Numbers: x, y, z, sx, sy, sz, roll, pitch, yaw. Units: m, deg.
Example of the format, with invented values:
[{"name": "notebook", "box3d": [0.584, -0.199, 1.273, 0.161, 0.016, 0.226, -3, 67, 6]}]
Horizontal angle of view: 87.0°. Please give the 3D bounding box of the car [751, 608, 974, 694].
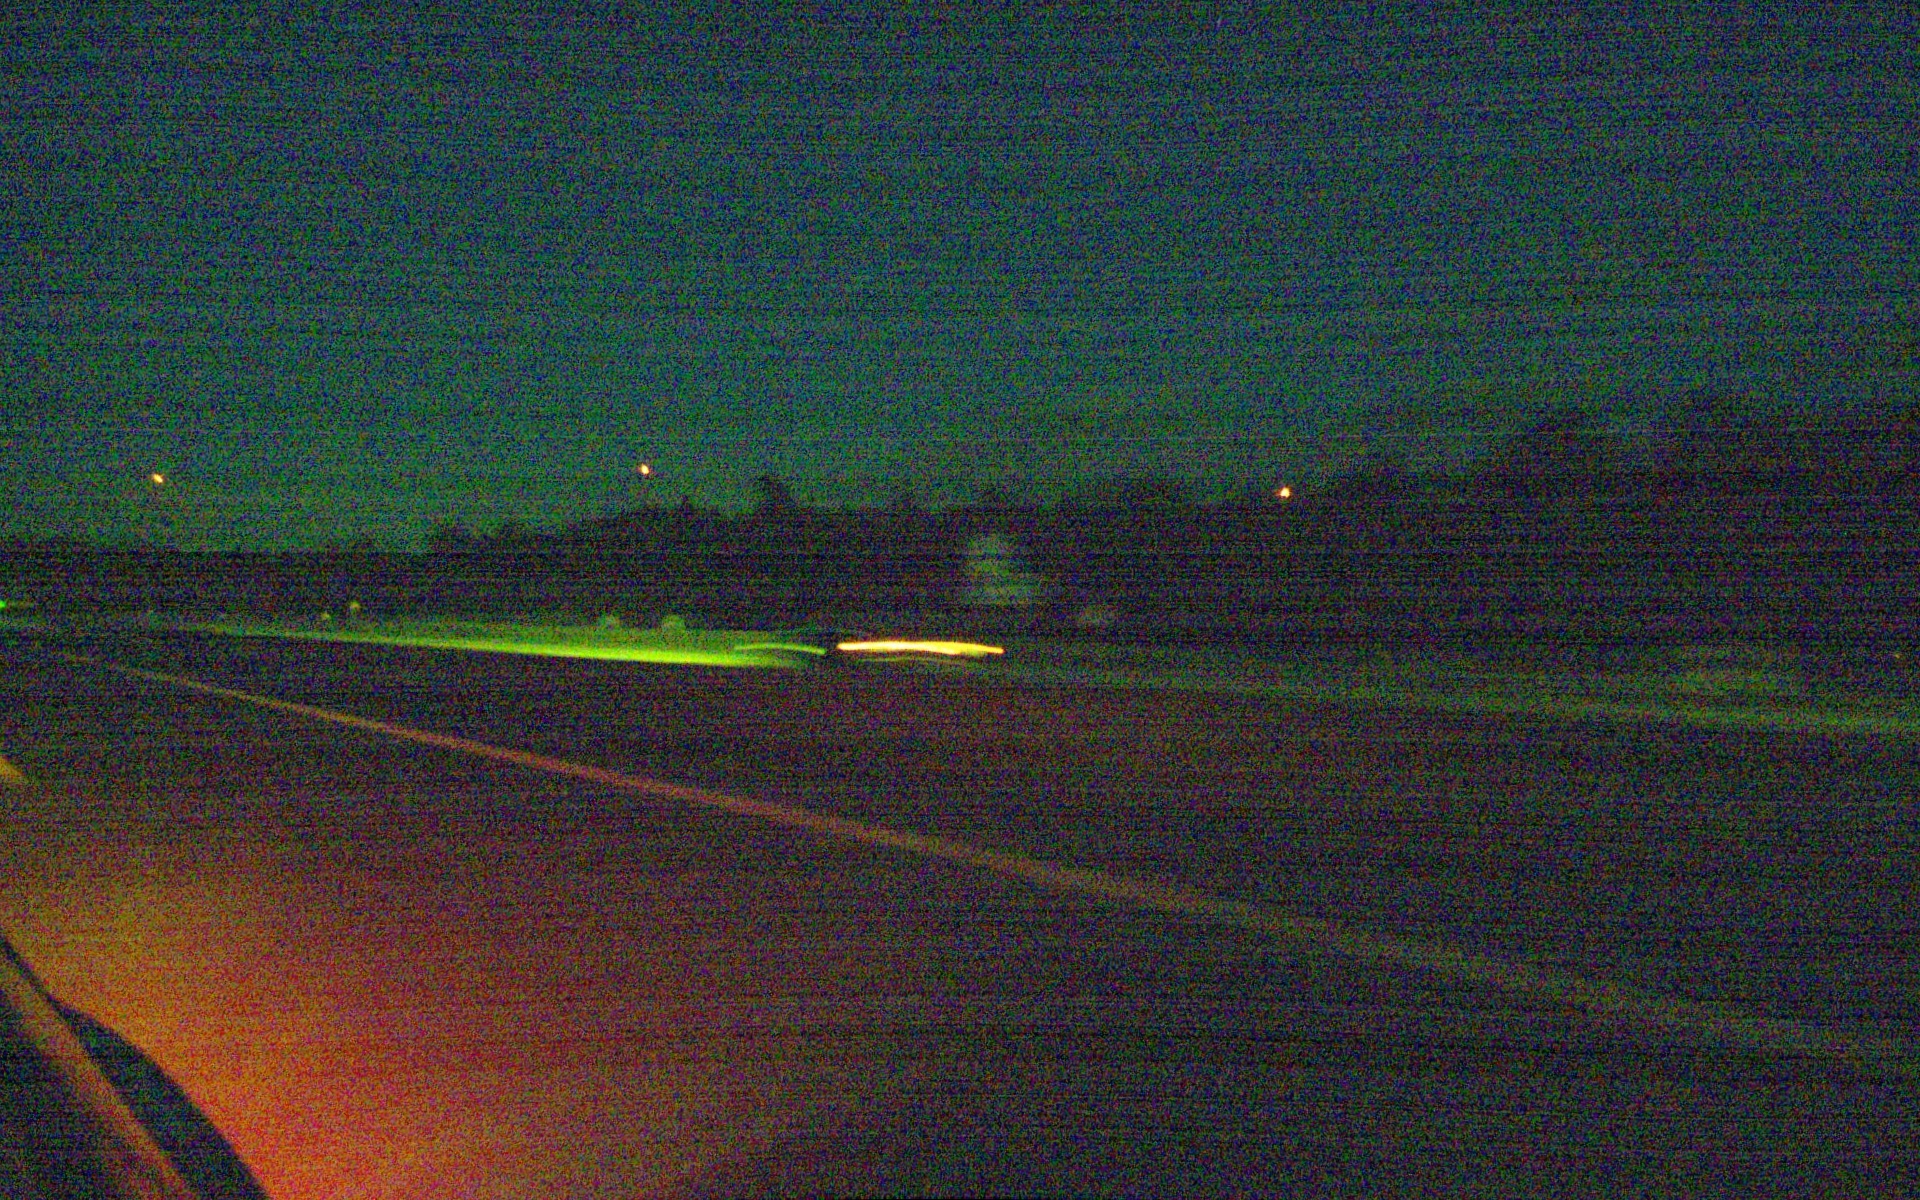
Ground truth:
[{"name": "car", "box3d": [-2.179, 0.996, 21.490, 4.953, 1.616, 1.911, -1, -1, 43]}]
